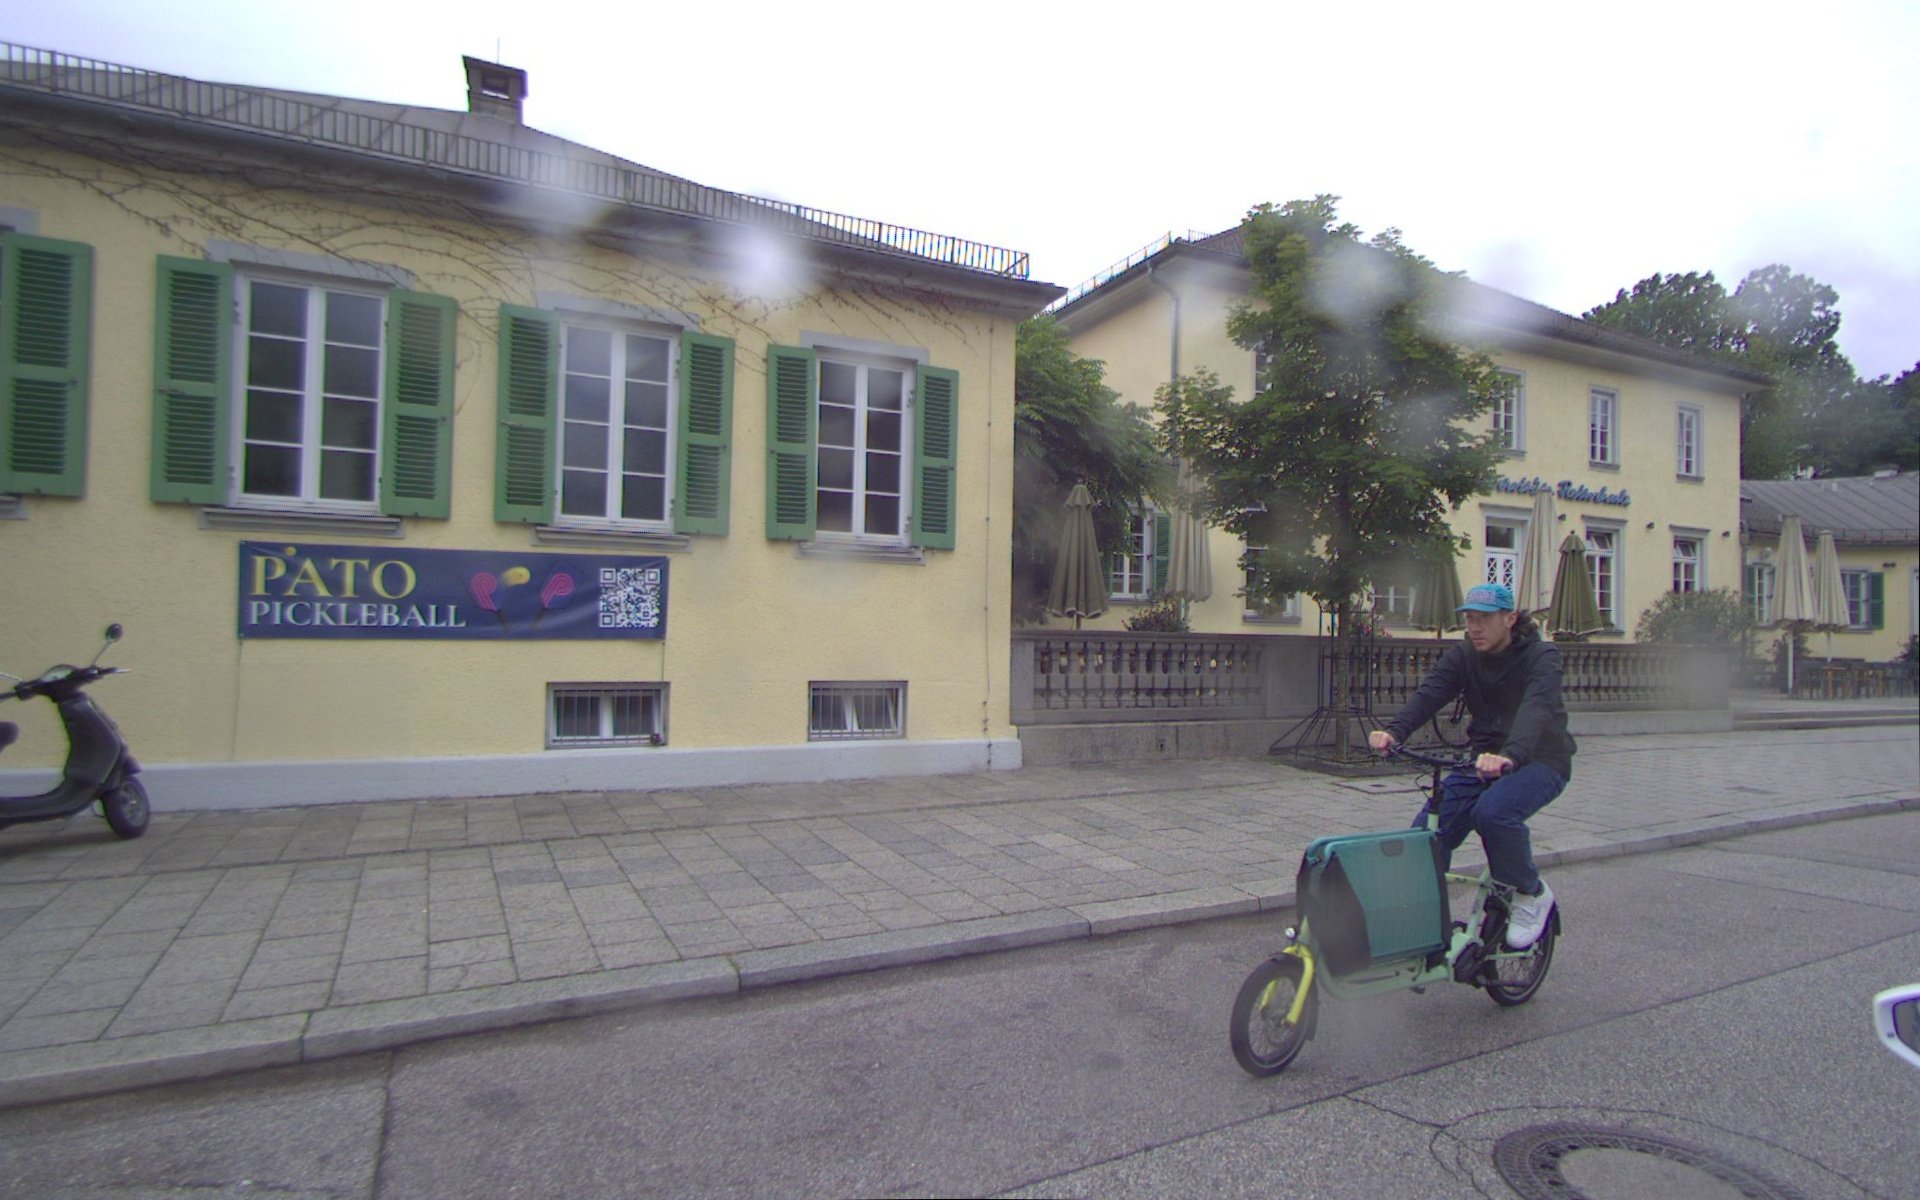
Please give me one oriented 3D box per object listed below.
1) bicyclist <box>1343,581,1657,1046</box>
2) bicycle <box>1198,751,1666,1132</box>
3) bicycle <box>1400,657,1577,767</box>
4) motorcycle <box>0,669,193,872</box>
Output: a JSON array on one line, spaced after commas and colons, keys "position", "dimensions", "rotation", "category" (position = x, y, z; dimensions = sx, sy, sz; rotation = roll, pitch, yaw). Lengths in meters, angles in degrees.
[{"position": [2.164, 0.754, 4.047], "dimensions": [0.966, 1.596, 0.739], "rotation": [2, -2, -32], "category": "bicyclist"}, {"position": [1.929, 1.187, 3.967], "dimensions": [2.116, 1.017, 0.618], "rotation": [2, -4, -32], "category": "bicycle"}, {"position": [6.380, 1.309, 12.249], "dimensions": [0.606, 1.113, 1.925], "rotation": [1, 0, -24], "category": "bicycle"}, {"position": [-5.779, 1.017, 5.995], "dimensions": [0.548, 1.116, 1.836], "rotation": [1, -1, 26], "category": "motorcycle"}]
